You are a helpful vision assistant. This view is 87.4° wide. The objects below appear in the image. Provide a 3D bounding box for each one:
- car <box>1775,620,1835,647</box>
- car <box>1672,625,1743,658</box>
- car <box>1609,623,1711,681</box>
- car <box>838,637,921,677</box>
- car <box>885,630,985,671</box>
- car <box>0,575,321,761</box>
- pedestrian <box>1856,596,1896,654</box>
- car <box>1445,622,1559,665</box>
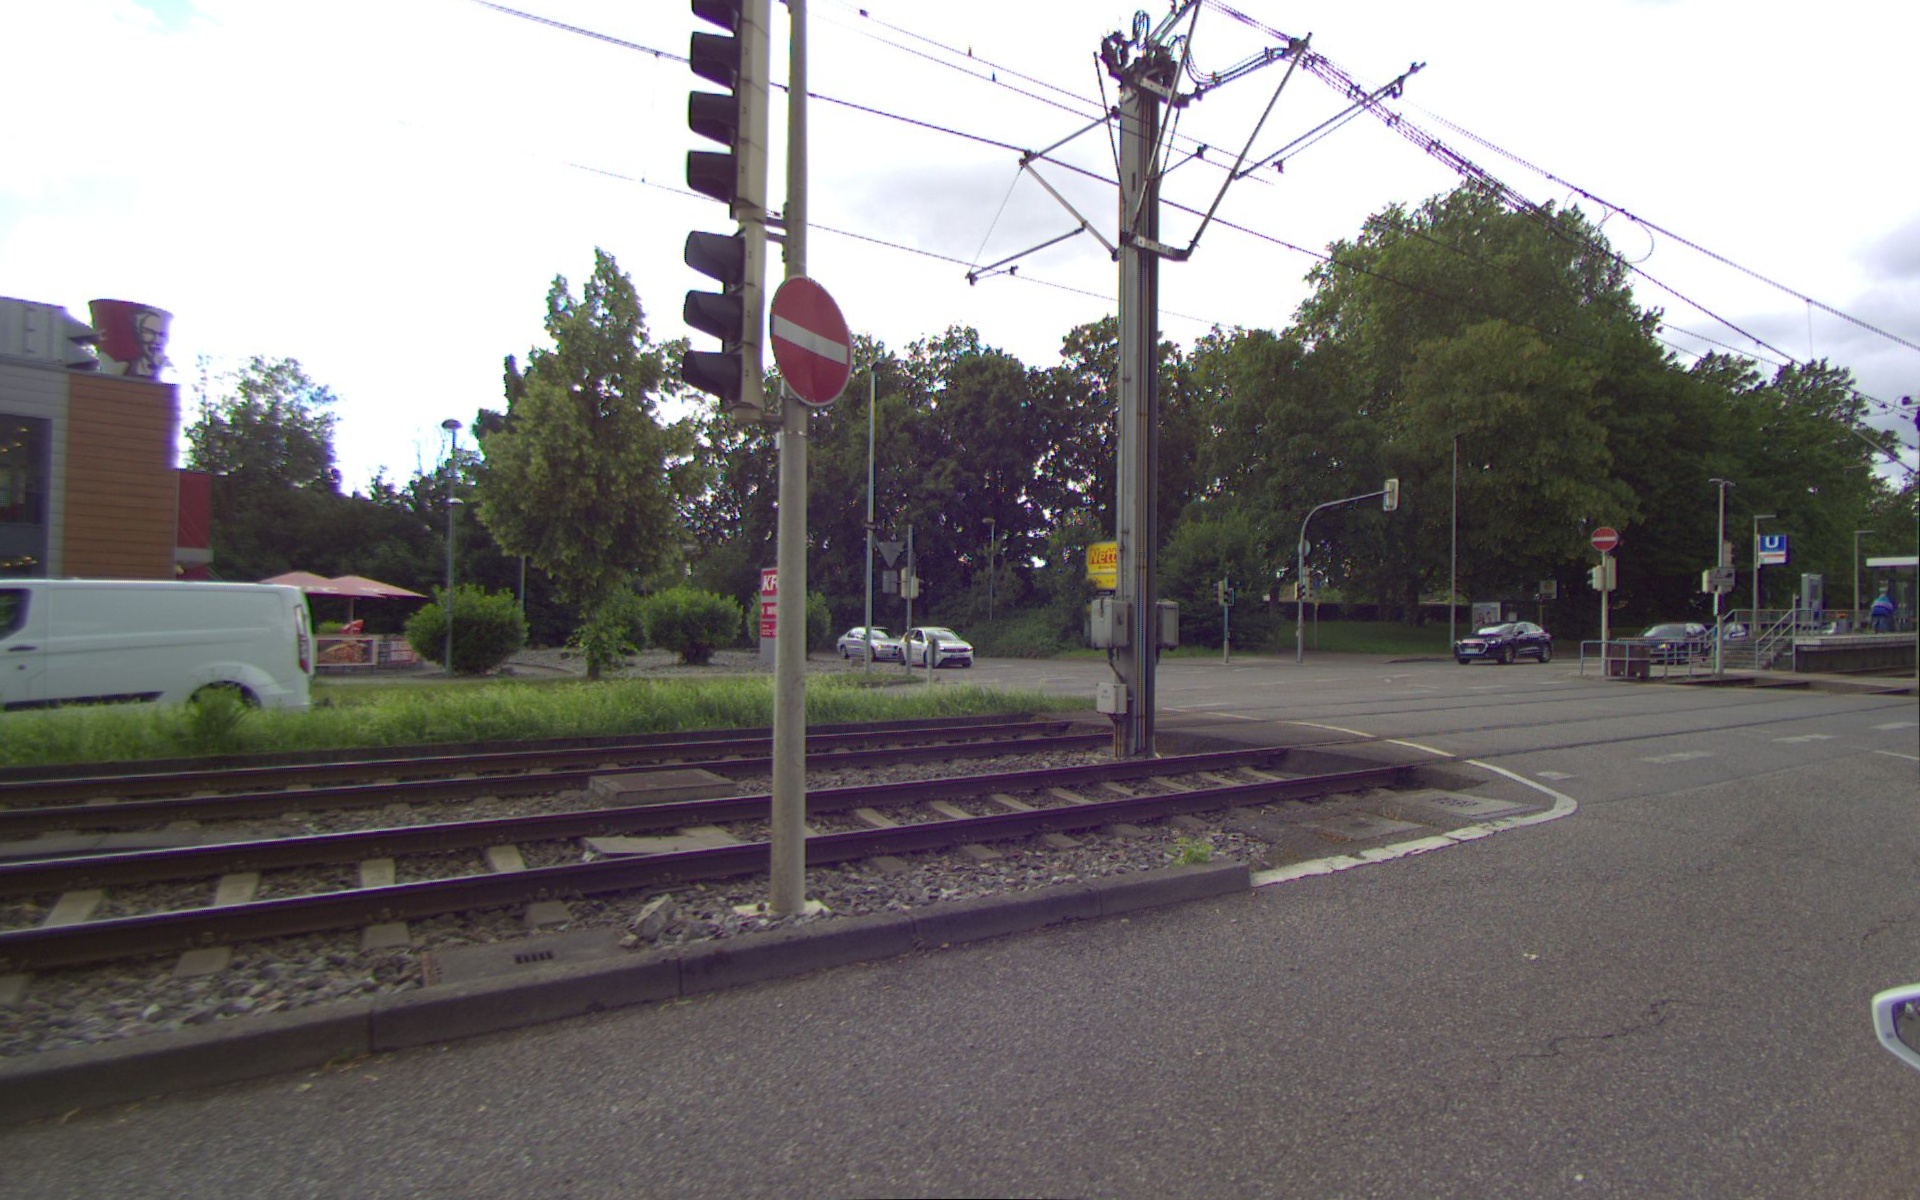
[{"bbox_3d":[48.577,1.969,57.731,3.961,1.464,1.675,2,-4,-35],"label":"car"},{"bbox_3d":[34.448,1.919,46.255,4.016,1.465,1.583,2,-3,-37],"label":"car"},{"bbox_3d":[24.920,1.846,35.713,3.961,1.885,1.685,2,0,-35],"label":"car"},{"bbox_3d":[-3.447,2.376,42.263,1.827,1.572,3.964,2,-2,-33],"label":"car"},{"bbox_3d":[-0.973,1.849,37.034,1.829,1.426,3.853,1,-3,-36],"label":"car"},{"bbox_3d":[-10.738,0.791,12.208,4.842,2.040,1.979,2,-3,-38],"label":"car"},{"bbox_3d":[35.448,0.964,38.877,0.966,2.215,0.964,1,-1,-33],"label":"pedestrian"},{"bbox_3d":[20.104,1.593,37.225,4.462,1.501,1.980,1,-2,-36],"label":"car"}]
